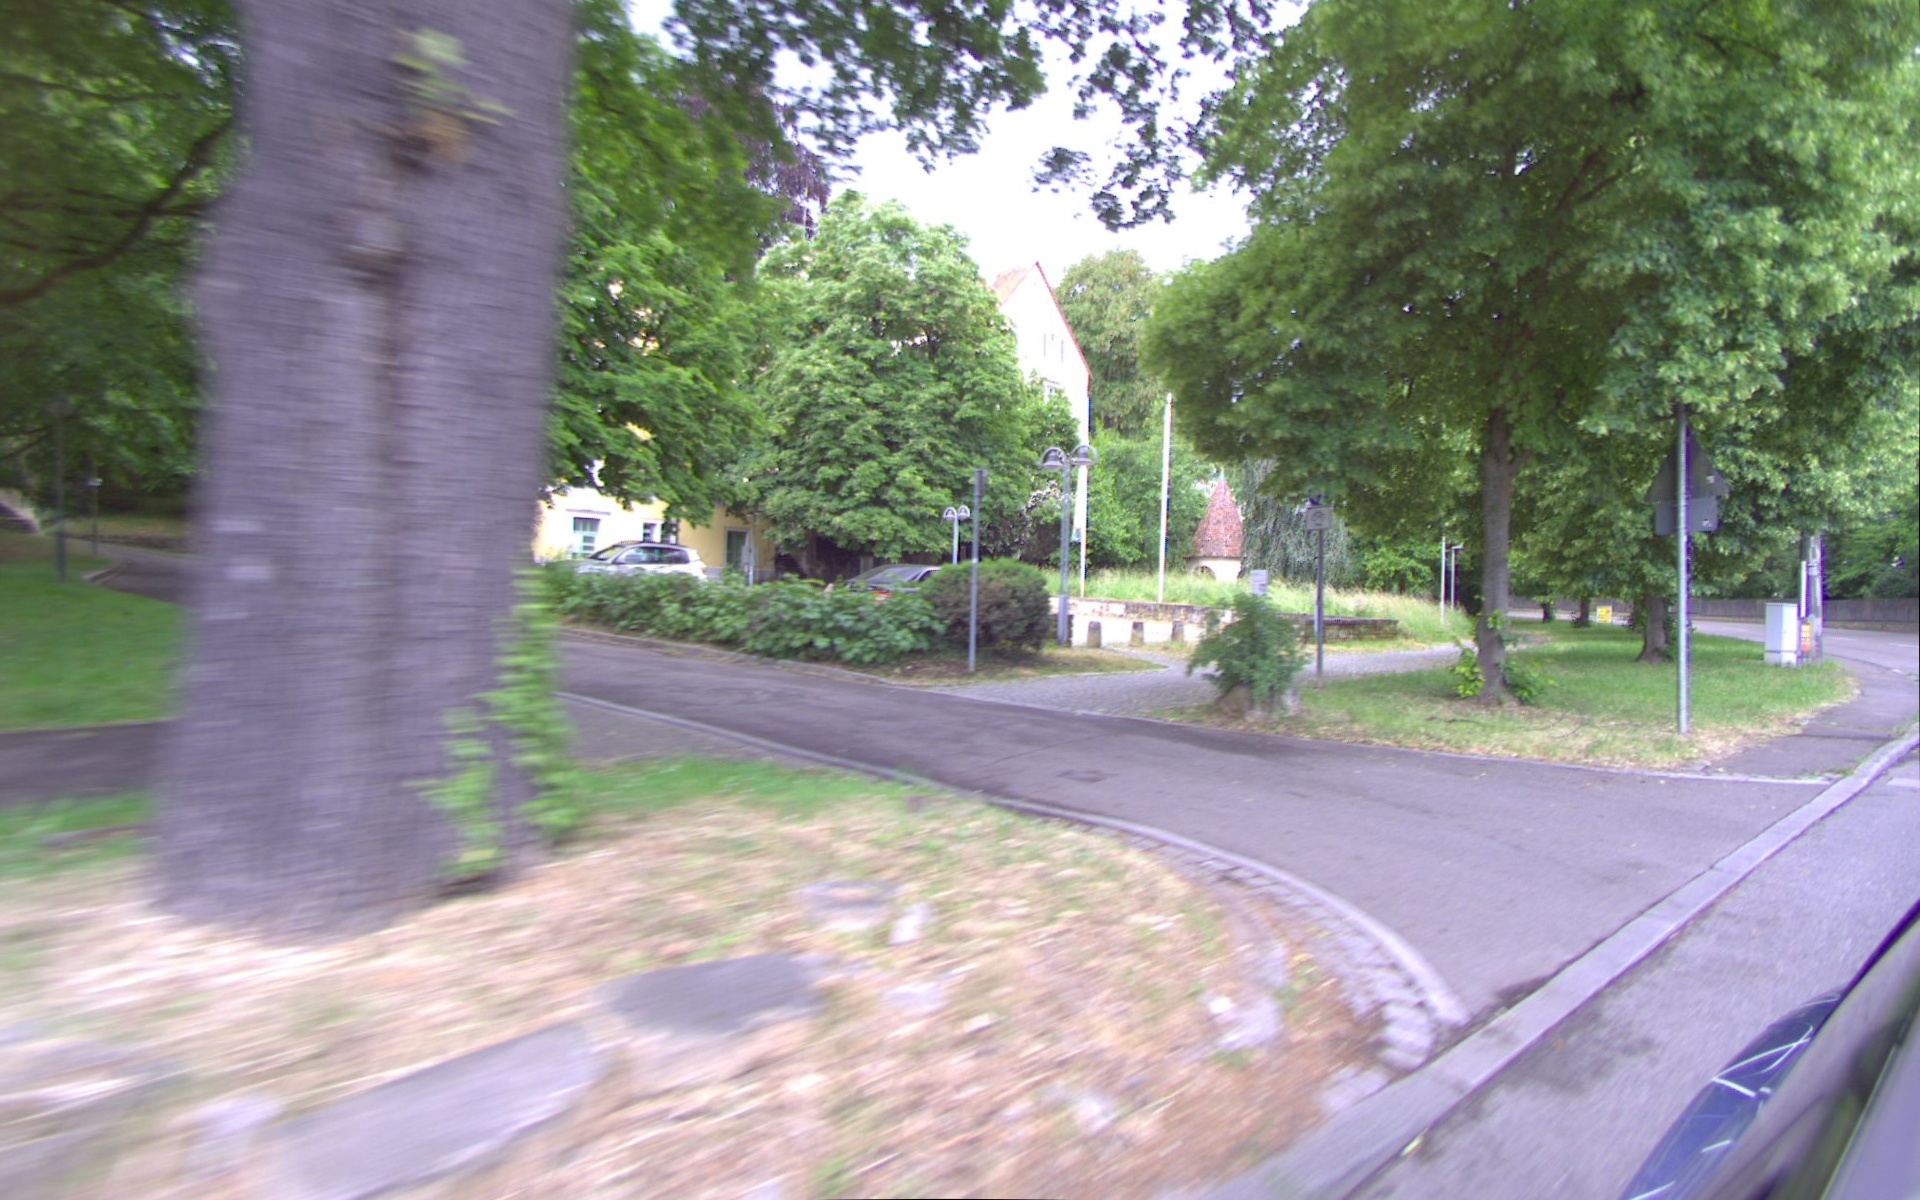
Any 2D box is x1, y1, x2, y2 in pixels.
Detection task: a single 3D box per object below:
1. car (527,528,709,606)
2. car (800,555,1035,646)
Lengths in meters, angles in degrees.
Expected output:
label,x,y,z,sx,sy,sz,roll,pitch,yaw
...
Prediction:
label,x,y,z,sx,sy,sz,roll,pitch,yaw
car,-8.836,-0.834,26.289,3.931,1.671,1.998,4,2,-42
car,-0.686,0.057,19.168,1.906,1.449,4.398,4,0,41
